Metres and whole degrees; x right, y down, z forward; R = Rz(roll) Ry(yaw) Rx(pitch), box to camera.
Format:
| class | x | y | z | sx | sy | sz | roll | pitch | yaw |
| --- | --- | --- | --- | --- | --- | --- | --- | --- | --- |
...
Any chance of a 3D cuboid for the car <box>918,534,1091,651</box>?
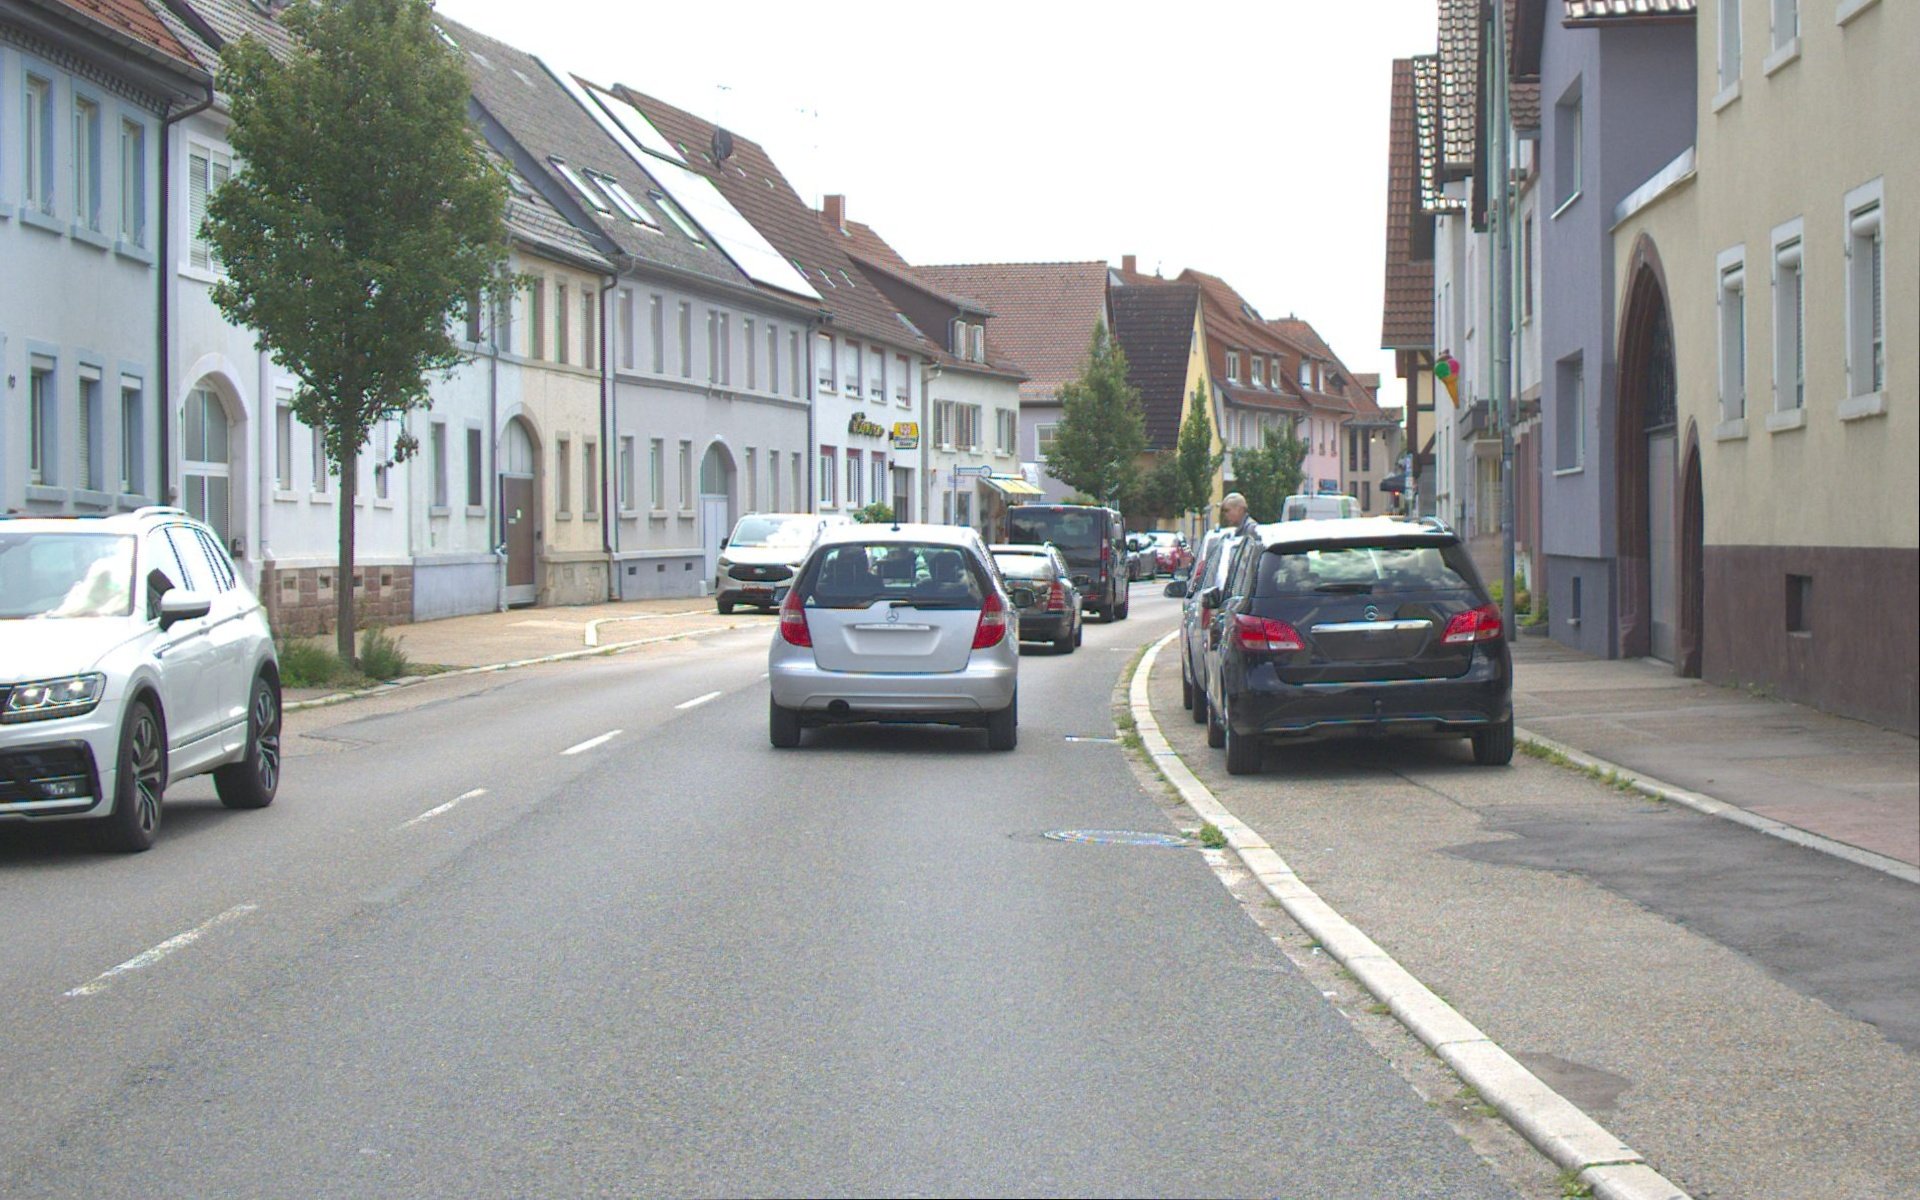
| class | x | y | z | sx | sy | sz | roll | pitch | yaw |
| --- | --- | --- | --- | --- | --- | --- | --- | --- | --- |
| car | 0.634 | -0.111 | 45.233 | 1.945 | 1.402 | 3.999 | 2 | 1 | 5 |

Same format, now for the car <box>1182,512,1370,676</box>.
| class | x | y | z | sx | sy | sz | roll | pitch | yaw |
| --- | --- | --- | --- | --- | --- | --- | --- | --- | --- |
| car | 3.383 | -0.080 | 36.951 | 1.861 | 1.620 | 4.196 | -1 | 0 | 5 |

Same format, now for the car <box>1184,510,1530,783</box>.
| class | x | y | z | sx | sy | sz | roll | pitch | yaw |
| --- | --- | --- | --- | --- | --- | --- | --- | --- | --- |
| car | 2.498 | 0.227 | 22.392 | 1.994 | 1.554 | 4.000 | -2 | 1 | 4 |

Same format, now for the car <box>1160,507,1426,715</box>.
| class | x | y | z | sx | sy | sz | roll | pitch | yaw |
| --- | --- | --- | --- | --- | --- | --- | --- | --- | --- |
| car | 2.641 | 0.067 | 28.090 | 1.861 | 1.526 | 4.196 | -1 | 0 | 2 |

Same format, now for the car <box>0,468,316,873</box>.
| class | x | y | z | sx | sy | sz | roll | pitch | yaw |
| --- | --- | --- | --- | --- | --- | --- | --- | --- | --- |
| car | -4.831 | 0.298 | 17.552 | 1.954 | 1.778 | 4.652 | -3 | 1 | 2 |

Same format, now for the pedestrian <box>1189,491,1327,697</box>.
| class | x | y | z | sx | sy | sz | roll | pitch | yaw |
| --- | --- | --- | --- | --- | --- | --- | --- | --- | --- |
| pedestrian | 2.708 | -0.068 | 31.071 | 1.095 | 1.815 | 1.469 | 0 | 1 | 10 |

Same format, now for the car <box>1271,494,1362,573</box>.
| class | x | y | z | sx | sy | sz | roll | pitch | yaw |
| --- | --- | --- | --- | --- | --- | --- | --- | --- | --- |
| car | 10.427 | -1.923 | 100.344 | 2.237 | 2.214 | 3.998 | -1 | 0 | 11 |

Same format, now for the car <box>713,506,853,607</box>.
| class | x | y | z | sx | sy | sz | roll | pitch | yaw |
| --- | --- | --- | --- | --- | --- | --- | --- | --- | --- |
| car | -3.387 | -0.854 | 66.596 | 2.092 | 1.877 | 3.999 | -1 | 1 | 6 |

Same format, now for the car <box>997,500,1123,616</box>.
| class | x | y | z | sx | sy | sz | roll | pitch | yaw |
| --- | --- | --- | --- | --- | --- | --- | --- | --- | --- |
| car | 1.761 | -0.717 | 59.426 | 1.769 | 1.881 | 4.446 | 2 | 1 | 6 |

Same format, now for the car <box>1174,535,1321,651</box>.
| class | x | y | z | sx | sy | sz | roll | pitch | yaw |
| --- | --- | --- | --- | --- | --- | --- | --- | --- | --- |
| car | 3.887 | -0.106 | 46.485 | 1.861 | 1.458 | 3.449 | -1 | 0 | 5 |

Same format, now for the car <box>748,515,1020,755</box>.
| class | x | y | z | sx | sy | sz | roll | pitch | yaw |
| --- | --- | --- | --- | --- | --- | --- | --- | --- | --- |
| car | -0.489 | 0.221 | 25.573 | 1.769 | 1.589 | 4.000 | 2 | 1 | 2 |
